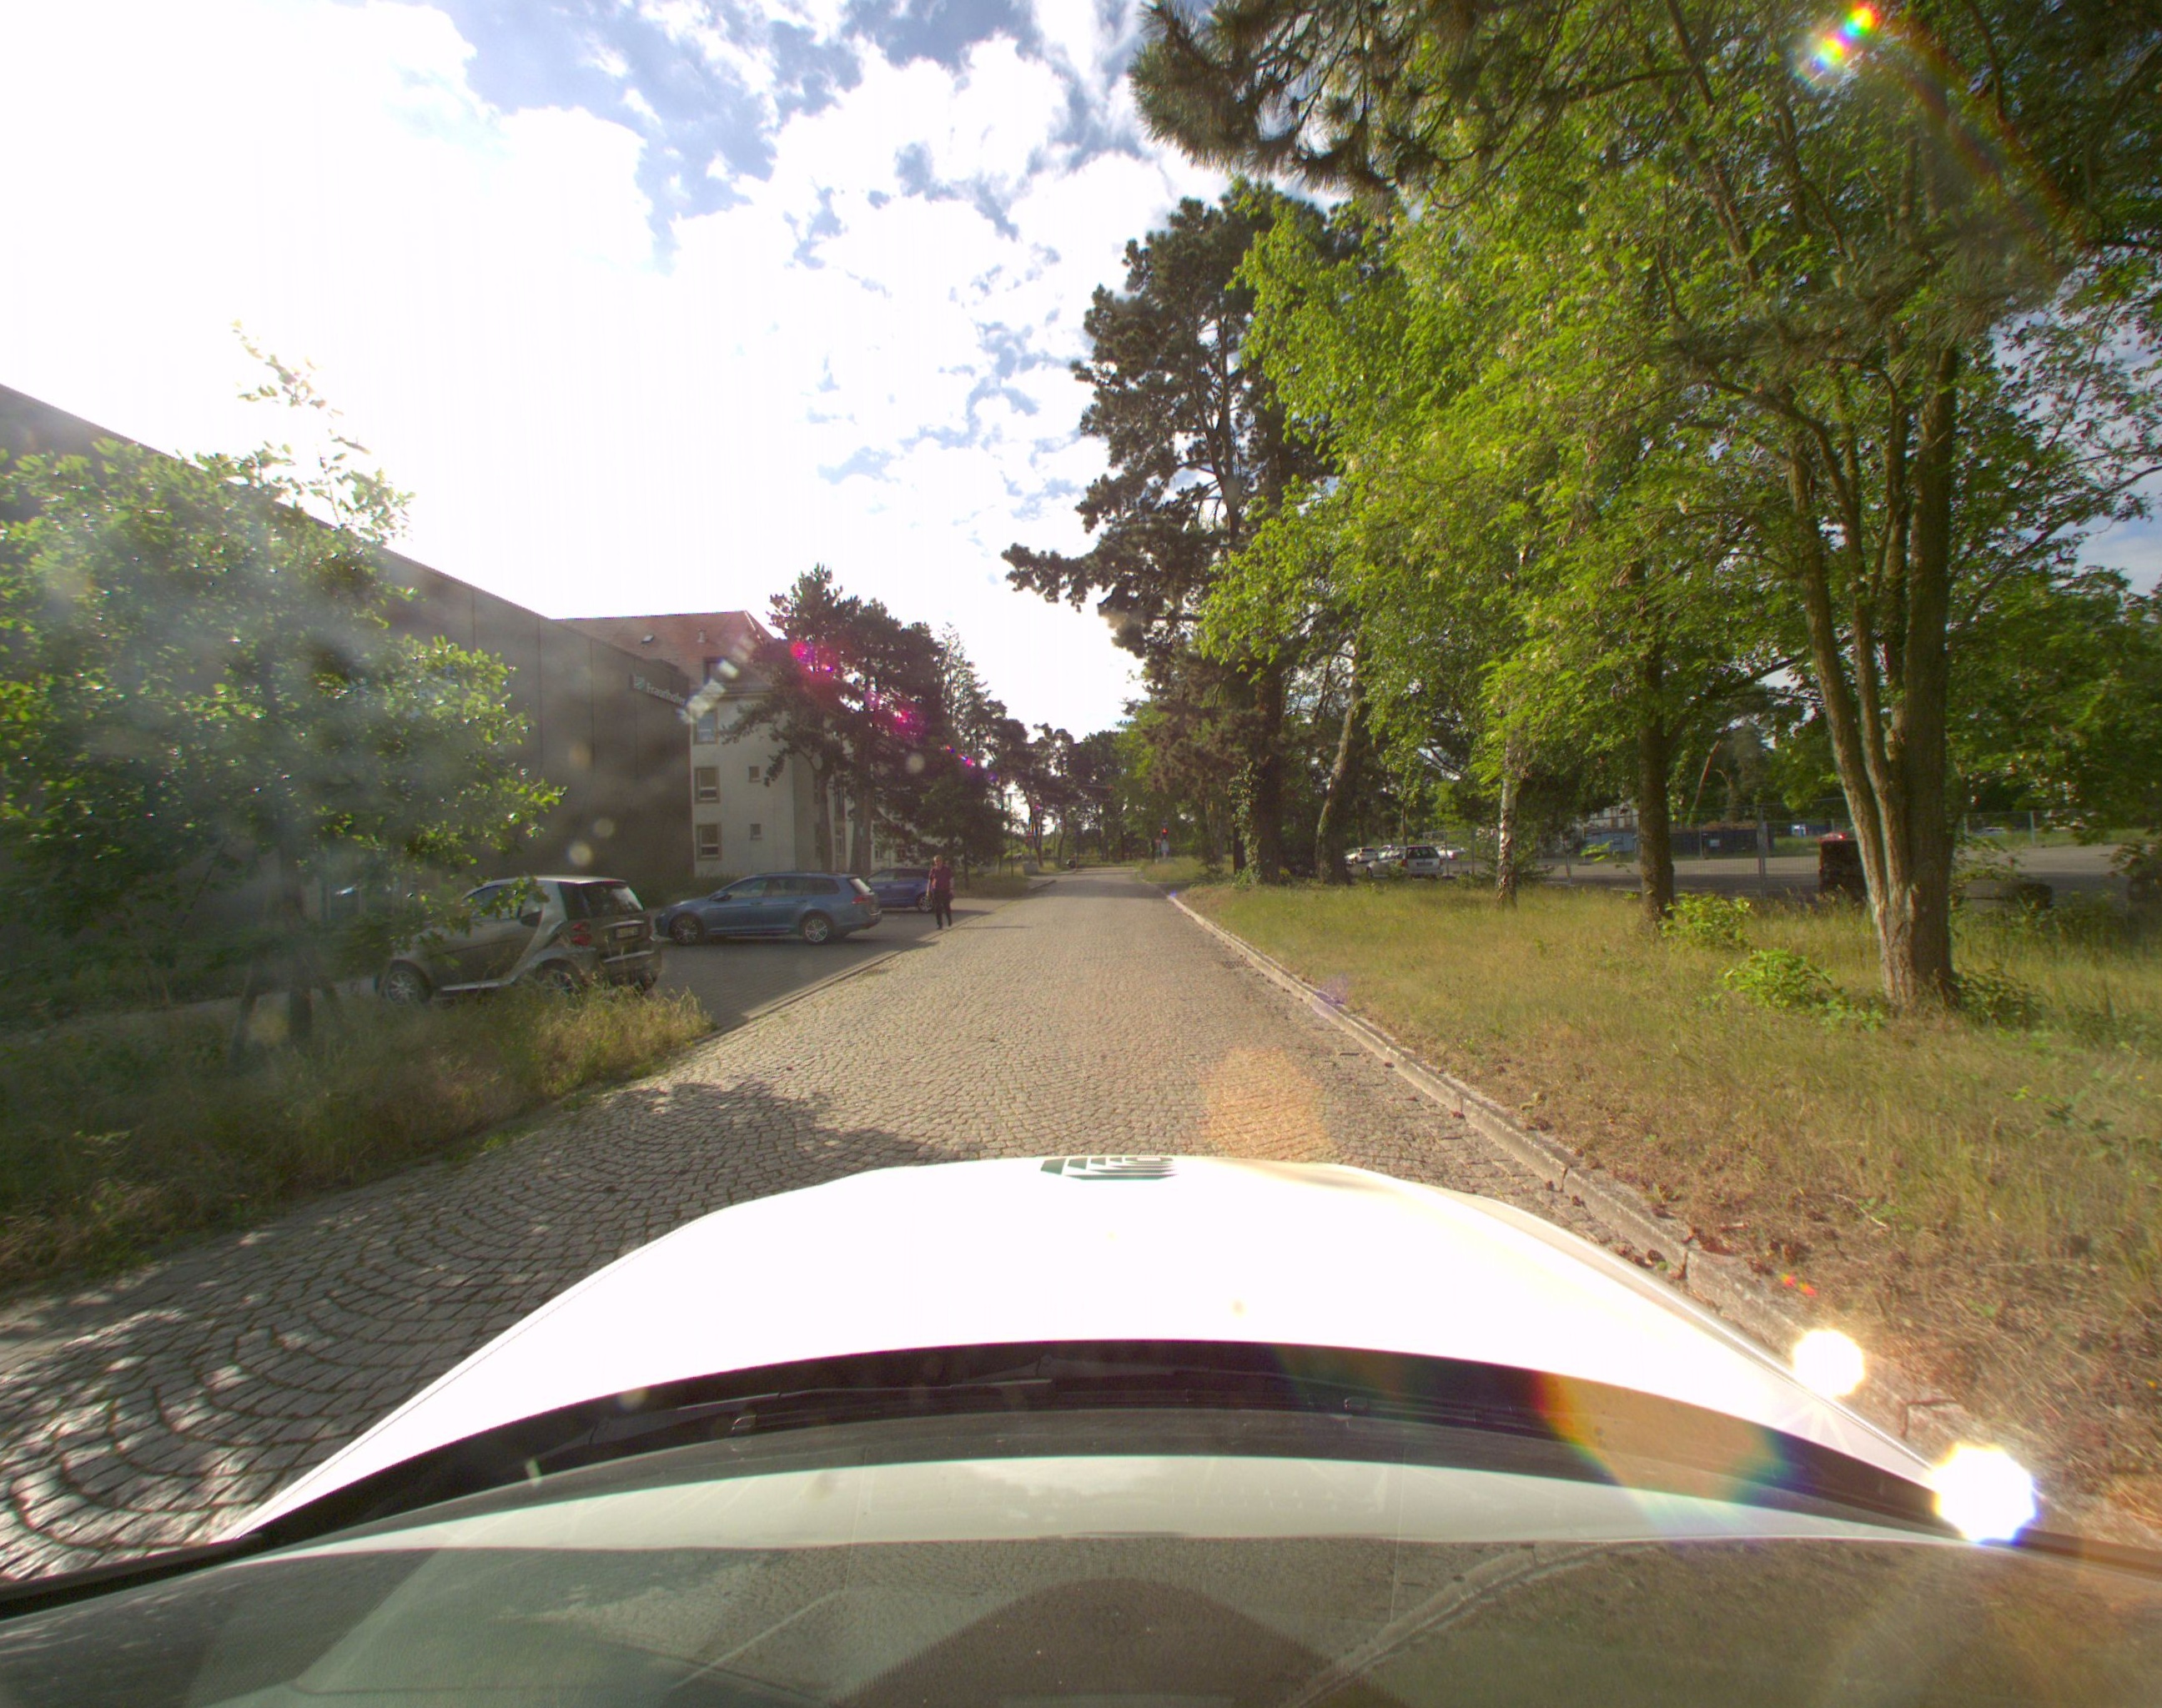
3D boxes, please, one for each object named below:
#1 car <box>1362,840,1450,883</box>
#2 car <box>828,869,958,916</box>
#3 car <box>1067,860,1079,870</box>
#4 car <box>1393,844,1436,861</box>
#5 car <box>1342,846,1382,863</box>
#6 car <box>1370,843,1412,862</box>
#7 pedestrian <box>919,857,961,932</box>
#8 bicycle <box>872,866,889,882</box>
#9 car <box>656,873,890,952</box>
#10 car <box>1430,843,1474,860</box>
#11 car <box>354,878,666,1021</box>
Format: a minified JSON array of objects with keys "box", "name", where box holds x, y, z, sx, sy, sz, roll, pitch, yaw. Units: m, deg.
[{"box":[12.334,0.293,31.175,1.663,1.468,3.997,-3,0,-2],"name":"car"},{"box":[-6.129,1.241,26.811,3.819,1.464,1.721,-1,-1,3],"name":"car"},{"box":[-1.295,1.826,132.941,1.839,1.486,3.999,-2,0,0],"name":"car"},{"box":[28.144,-0.077,68.920,1.726,1.312,4.329,-2,0,-2],"name":"car"},{"box":[23.630,0.035,68.573,1.726,1.312,4.329,-2,0,-1],"name":"car"},{"box":[26.151,-0.098,68.825,1.726,1.476,4.329,-2,0,-1],"name":"car"},{"box":[-3.489,0.990,20.223,0.802,1.771,1.152,-2,-1,-2],"name":"pedestrian"},{"box":[-19.015,1.854,77.295,0.823,1.437,2.555,-2,0,2],"name":"bicycle"},{"box":[-6.368,1.189,17.186,4.244,1.464,1.680,-1,1,-1],"name":"car"},{"box":[31.510,-0.222,69.289,1.726,1.312,4.329,-3,0,-1],"name":"car"},{"box":[-6.789,1.088,9.886,2.689,1.542,1.519,-1,-1,1],"name":"car"}]
